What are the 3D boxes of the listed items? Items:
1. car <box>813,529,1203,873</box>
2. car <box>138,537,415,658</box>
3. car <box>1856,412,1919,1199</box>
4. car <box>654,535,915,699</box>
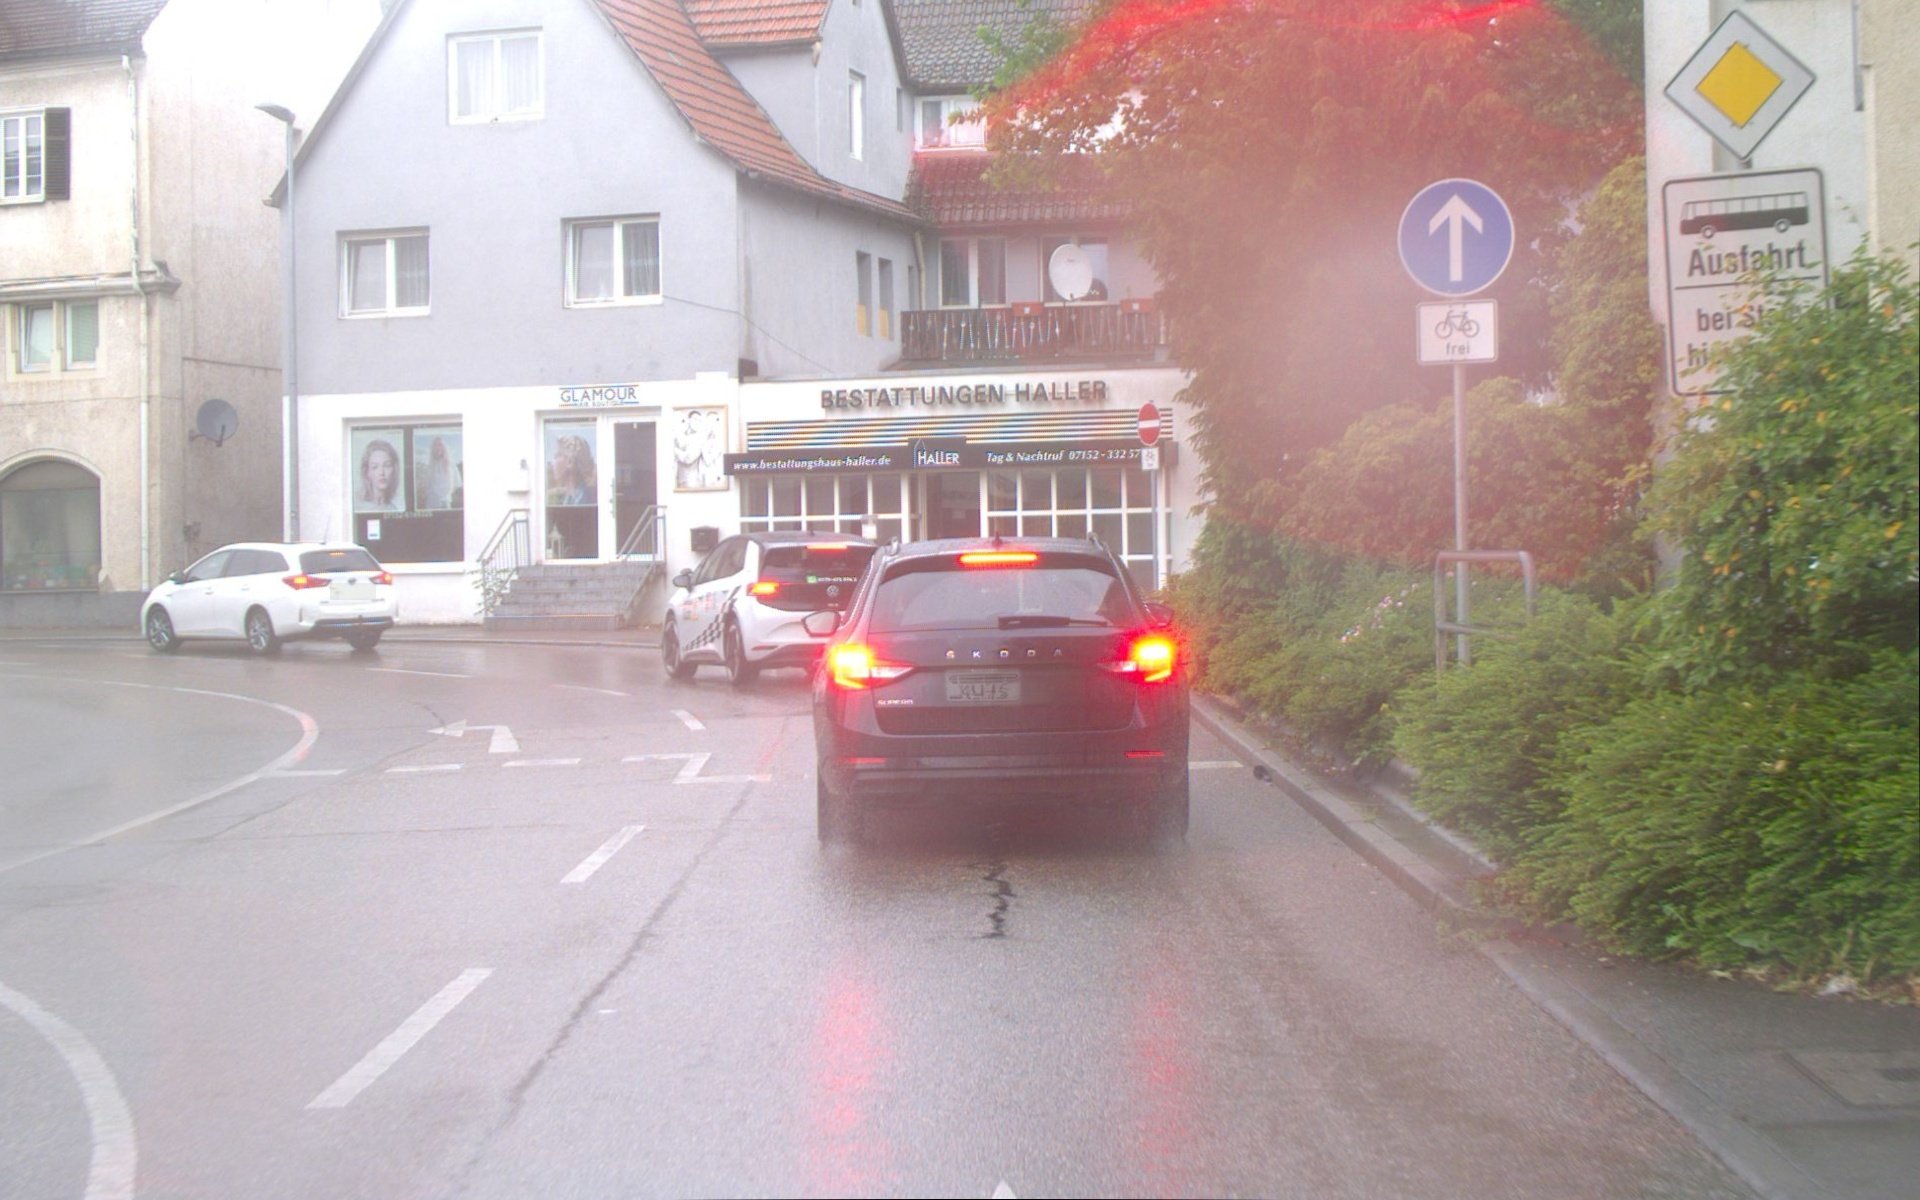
[{"bbox_3d":[0.158,0.410,17.589,1.732,1.445,4.242,-1,2,-2],"label":"car"},{"bbox_3d":[-9.228,-0.074,46.209,1.786,1.460,4.162,-3,3,-41],"label":"car"},{"bbox_3d":[2.901,0.515,5.175,1.931,1.774,4.734,-2,1,1],"label":"car"},{"bbox_3d":[-1.892,0.120,35.751,1.788,1.512,4.243,-2,2,-15],"label":"car"}]
